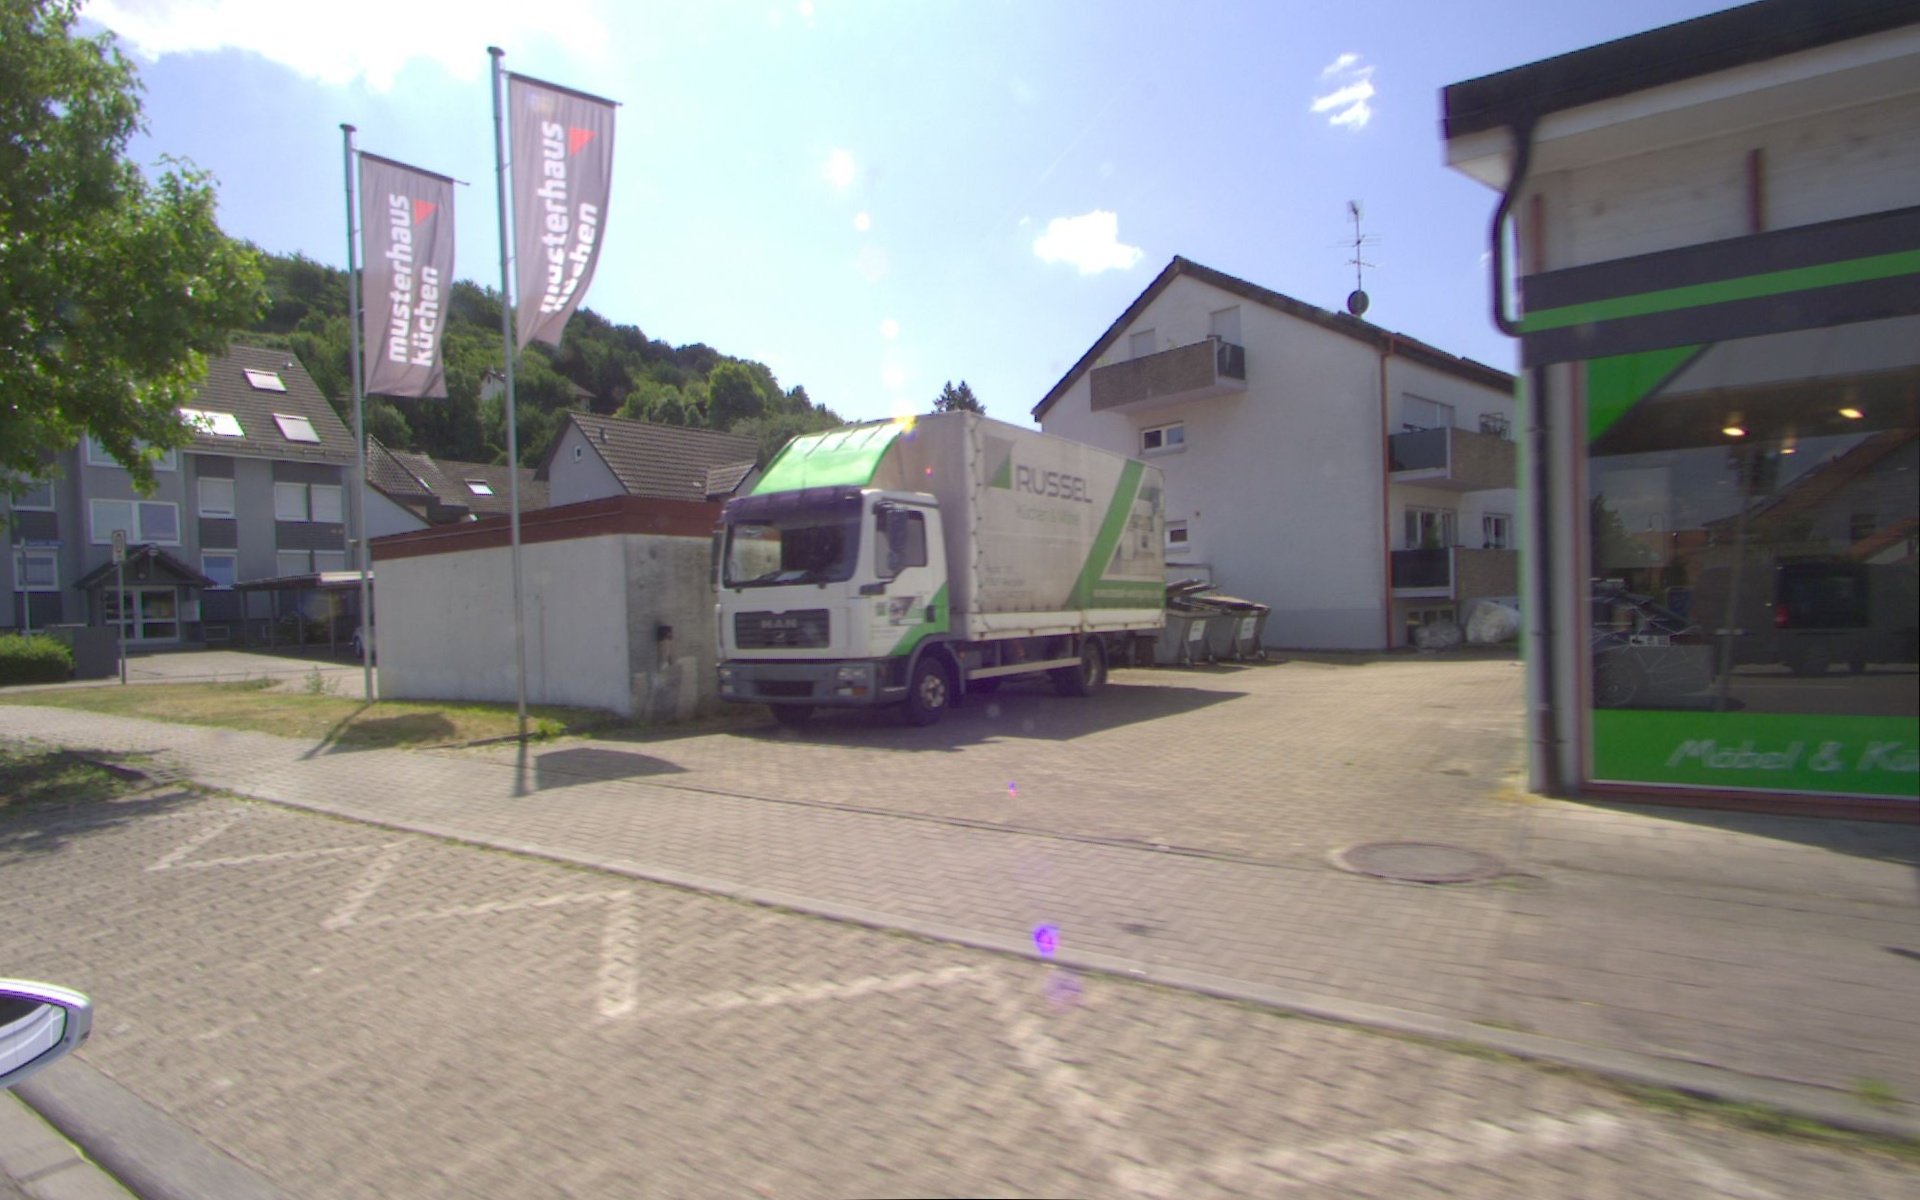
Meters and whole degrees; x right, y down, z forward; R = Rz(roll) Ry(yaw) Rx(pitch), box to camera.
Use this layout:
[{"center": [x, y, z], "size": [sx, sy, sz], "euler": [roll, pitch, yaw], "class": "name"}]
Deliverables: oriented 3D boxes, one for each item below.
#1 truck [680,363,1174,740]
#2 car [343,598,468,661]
[{"center": [0.224, -0.420, 13.788], "size": [2.640, 3.619, 8.153], "euler": [-2, -1, 32], "class": "truck"}, {"center": [-16.950, 0.841, 30.567], "size": [4.159, 1.671, 1.730], "euler": [1, 3, 36], "class": "car"}]
